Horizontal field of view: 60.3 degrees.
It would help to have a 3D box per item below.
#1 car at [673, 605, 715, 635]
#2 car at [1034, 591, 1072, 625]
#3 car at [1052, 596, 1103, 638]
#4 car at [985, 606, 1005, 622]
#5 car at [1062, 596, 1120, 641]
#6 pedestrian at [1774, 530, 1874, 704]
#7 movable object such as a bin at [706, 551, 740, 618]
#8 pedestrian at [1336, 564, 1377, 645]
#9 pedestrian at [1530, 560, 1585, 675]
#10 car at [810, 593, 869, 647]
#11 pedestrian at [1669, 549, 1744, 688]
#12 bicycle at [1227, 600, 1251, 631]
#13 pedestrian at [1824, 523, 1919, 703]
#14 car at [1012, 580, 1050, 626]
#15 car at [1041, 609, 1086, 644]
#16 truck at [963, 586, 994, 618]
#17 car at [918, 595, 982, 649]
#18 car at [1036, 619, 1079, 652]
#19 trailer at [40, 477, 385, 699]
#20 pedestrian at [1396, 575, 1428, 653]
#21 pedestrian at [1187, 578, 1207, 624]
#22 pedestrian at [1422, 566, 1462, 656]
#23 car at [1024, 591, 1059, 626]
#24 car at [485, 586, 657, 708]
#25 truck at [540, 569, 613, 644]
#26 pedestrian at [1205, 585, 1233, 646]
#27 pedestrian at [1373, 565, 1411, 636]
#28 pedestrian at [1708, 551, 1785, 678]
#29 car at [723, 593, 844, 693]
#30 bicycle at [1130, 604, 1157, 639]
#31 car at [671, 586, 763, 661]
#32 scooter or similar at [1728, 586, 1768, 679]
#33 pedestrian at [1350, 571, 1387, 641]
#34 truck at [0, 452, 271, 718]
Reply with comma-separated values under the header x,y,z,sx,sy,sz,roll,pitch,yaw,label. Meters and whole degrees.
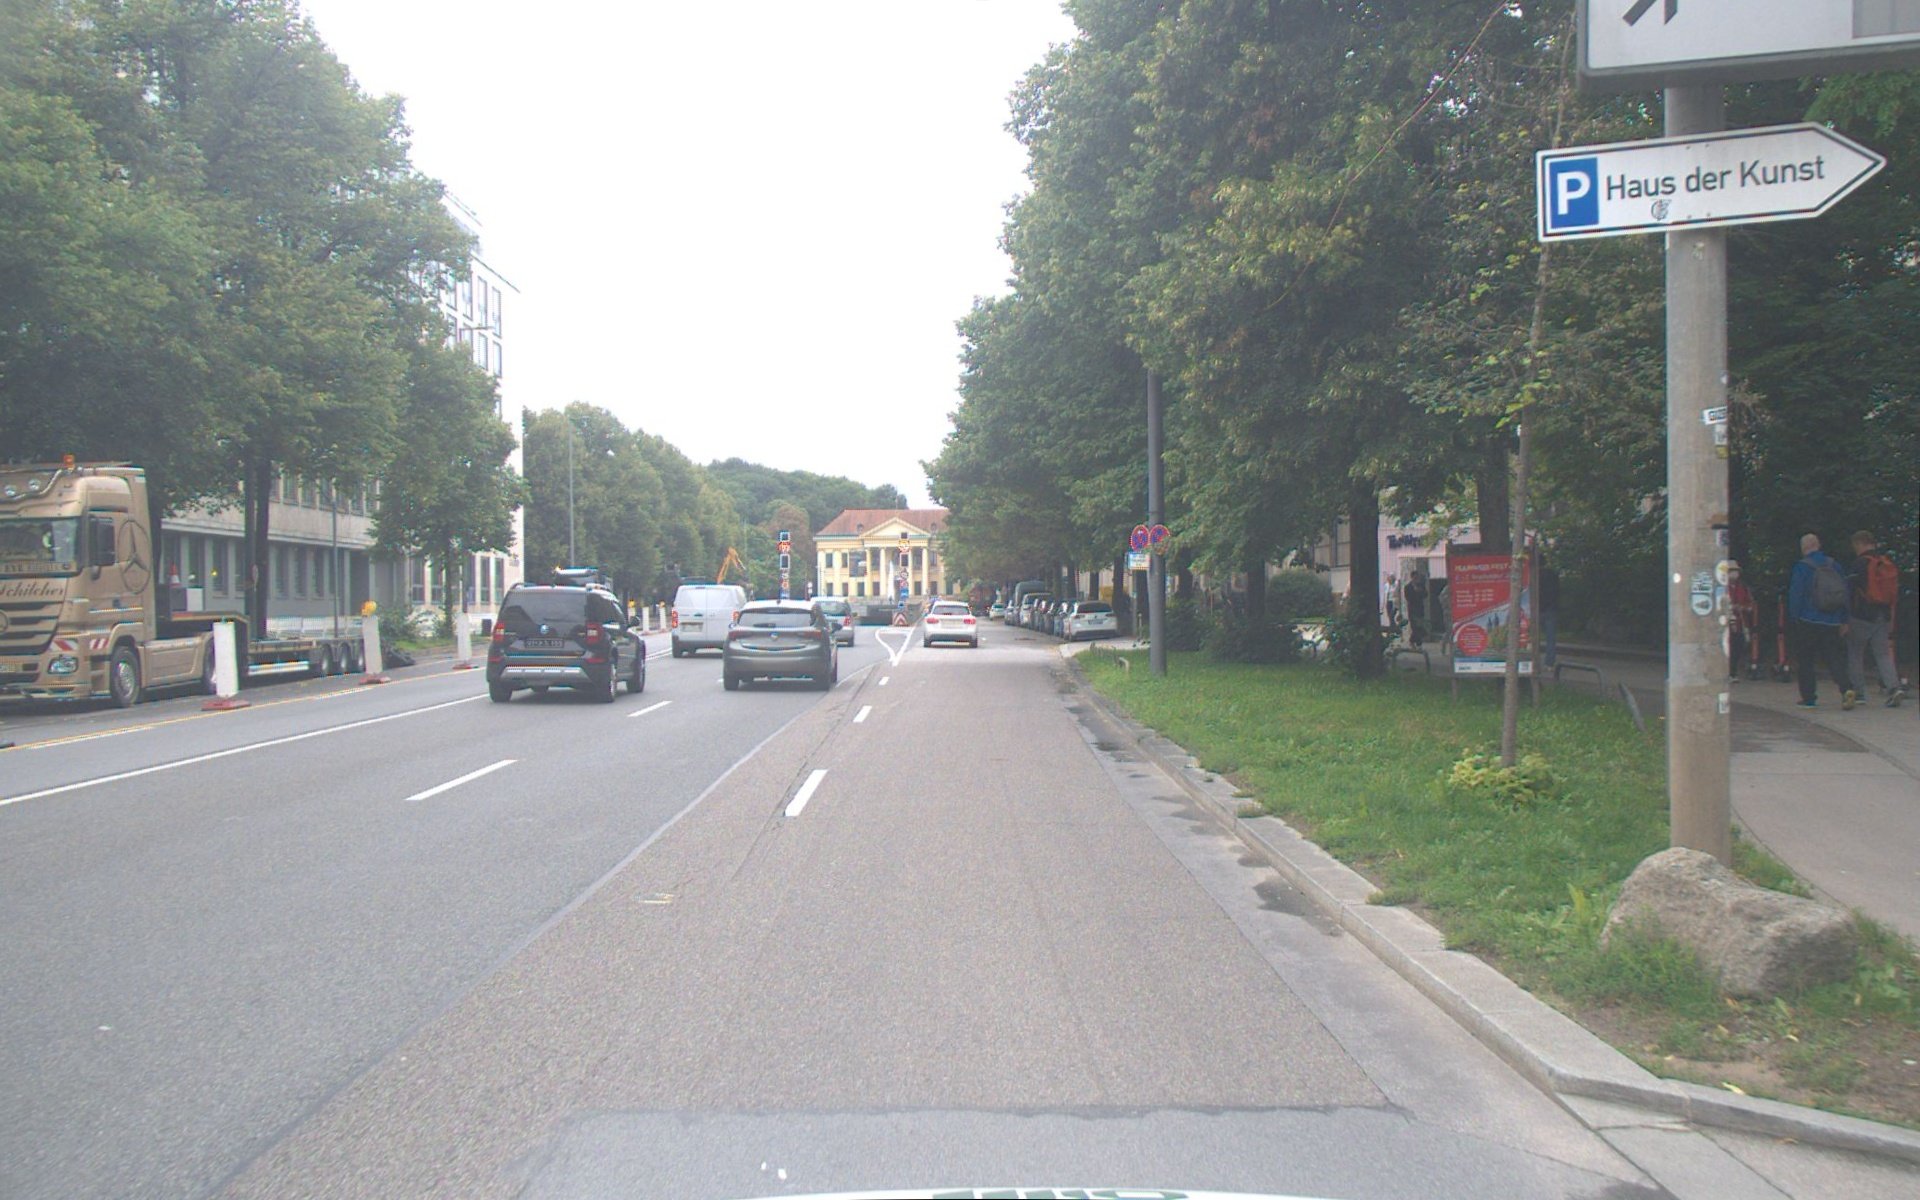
x,y,z,sx,sy,sz,roll,pitch,yaw,label
-15.133,1.102,94.147,1.954,1.624,3.997,-1,0,-4,car
4.814,0.424,85.941,1.689,1.694,4.589,-1,0,0,car
4.731,0.672,67.102,1.689,1.577,4.585,-1,0,0,car
3.119,1.213,146.953,1.689,1.347,4.027,-1,0,0,car
4.876,0.680,62.143,1.790,1.577,4.751,-1,0,0,car
8.998,0.171,17.254,0.738,1.767,0.850,0,0,14,pedestrian
-23.800,-1.572,166.528,2.644,6.625,5.175,1,0,-1,movable object such as a bin
10.349,0.121,43.173,0.747,2.048,0.776,-3,0,0,pedestrian
9.479,0.271,26.260,0.595,1.794,0.797,1,0,3,pedestrian
-3.945,0.647,54.709,1.743,1.683,3.999,1,0,-1,car
9.696,0.233,21.500,0.738,1.767,0.850,0,0,14,pedestrian
13.381,0.738,79.363,0.685,1.440,2.298,-1,0,-1,bicycle
9.683,0.134,17.548,0.576,1.854,0.850,1,0,0,pedestrian
4.277,0.195,100.273,1.953,2.689,4.875,1,0,-2,car
4.613,1.166,74.046,1.689,1.490,4.775,-1,0,0,car
2.020,0.251,184.292,3.258,3.426,8.661,1,0,-1,truck
-0.361,0.706,54.371,1.745,1.673,3.995,1,0,-6,car
4.650,1.669,79.515,1.785,1.490,4.027,-1,0,0,car
-14.967,-0.186,34.501,2.893,3.805,11.755,1,0,-6,trailer
9.967,0.311,36.486,0.568,1.705,0.553,1,0,3,pedestrian
10.109,0.060,70.626,0.748,1.943,0.771,1,0,0,pedestrian
9.810,0.224,33.680,0.617,1.805,0.782,1,0,3,pedestrian
4.571,0.473,93.209,1.689,1.900,4.027,-1,0,0,car
-5.804,0.669,25.136,1.688,1.665,4.203,-1,0,-1,car
-18.581,0.322,80.536,2.788,3.415,8.746,1,0,-9,truck
8.256,0.494,52.723,0.763,1.943,0.771,1,0,0,pedestrian
11.455,0.020,43.847,0.587,1.840,0.719,-2,0,-25,pedestrian
10.525,0.196,22.153,0.669,1.666,0.661,1,0,-12,pedestrian
-2.959,0.687,28.401,1.675,1.579,3.999,1,0,-1,car
6.782,0.788,61.243,0.616,1.252,2.617,1,0,-3,bicycle
-6.525,0.627,44.896,1.860,1.880,4.954,-1,0,-1,car
10.829,0.435,22.720,0.300,1.245,0.922,-1,0,38,scooter or similar
10.986,0.156,44.486,0.587,1.840,0.719,-2,0,-25,pedestrian
-14.340,-0.218,27.745,2.859,3.841,7.658,1,0,-5,truck
